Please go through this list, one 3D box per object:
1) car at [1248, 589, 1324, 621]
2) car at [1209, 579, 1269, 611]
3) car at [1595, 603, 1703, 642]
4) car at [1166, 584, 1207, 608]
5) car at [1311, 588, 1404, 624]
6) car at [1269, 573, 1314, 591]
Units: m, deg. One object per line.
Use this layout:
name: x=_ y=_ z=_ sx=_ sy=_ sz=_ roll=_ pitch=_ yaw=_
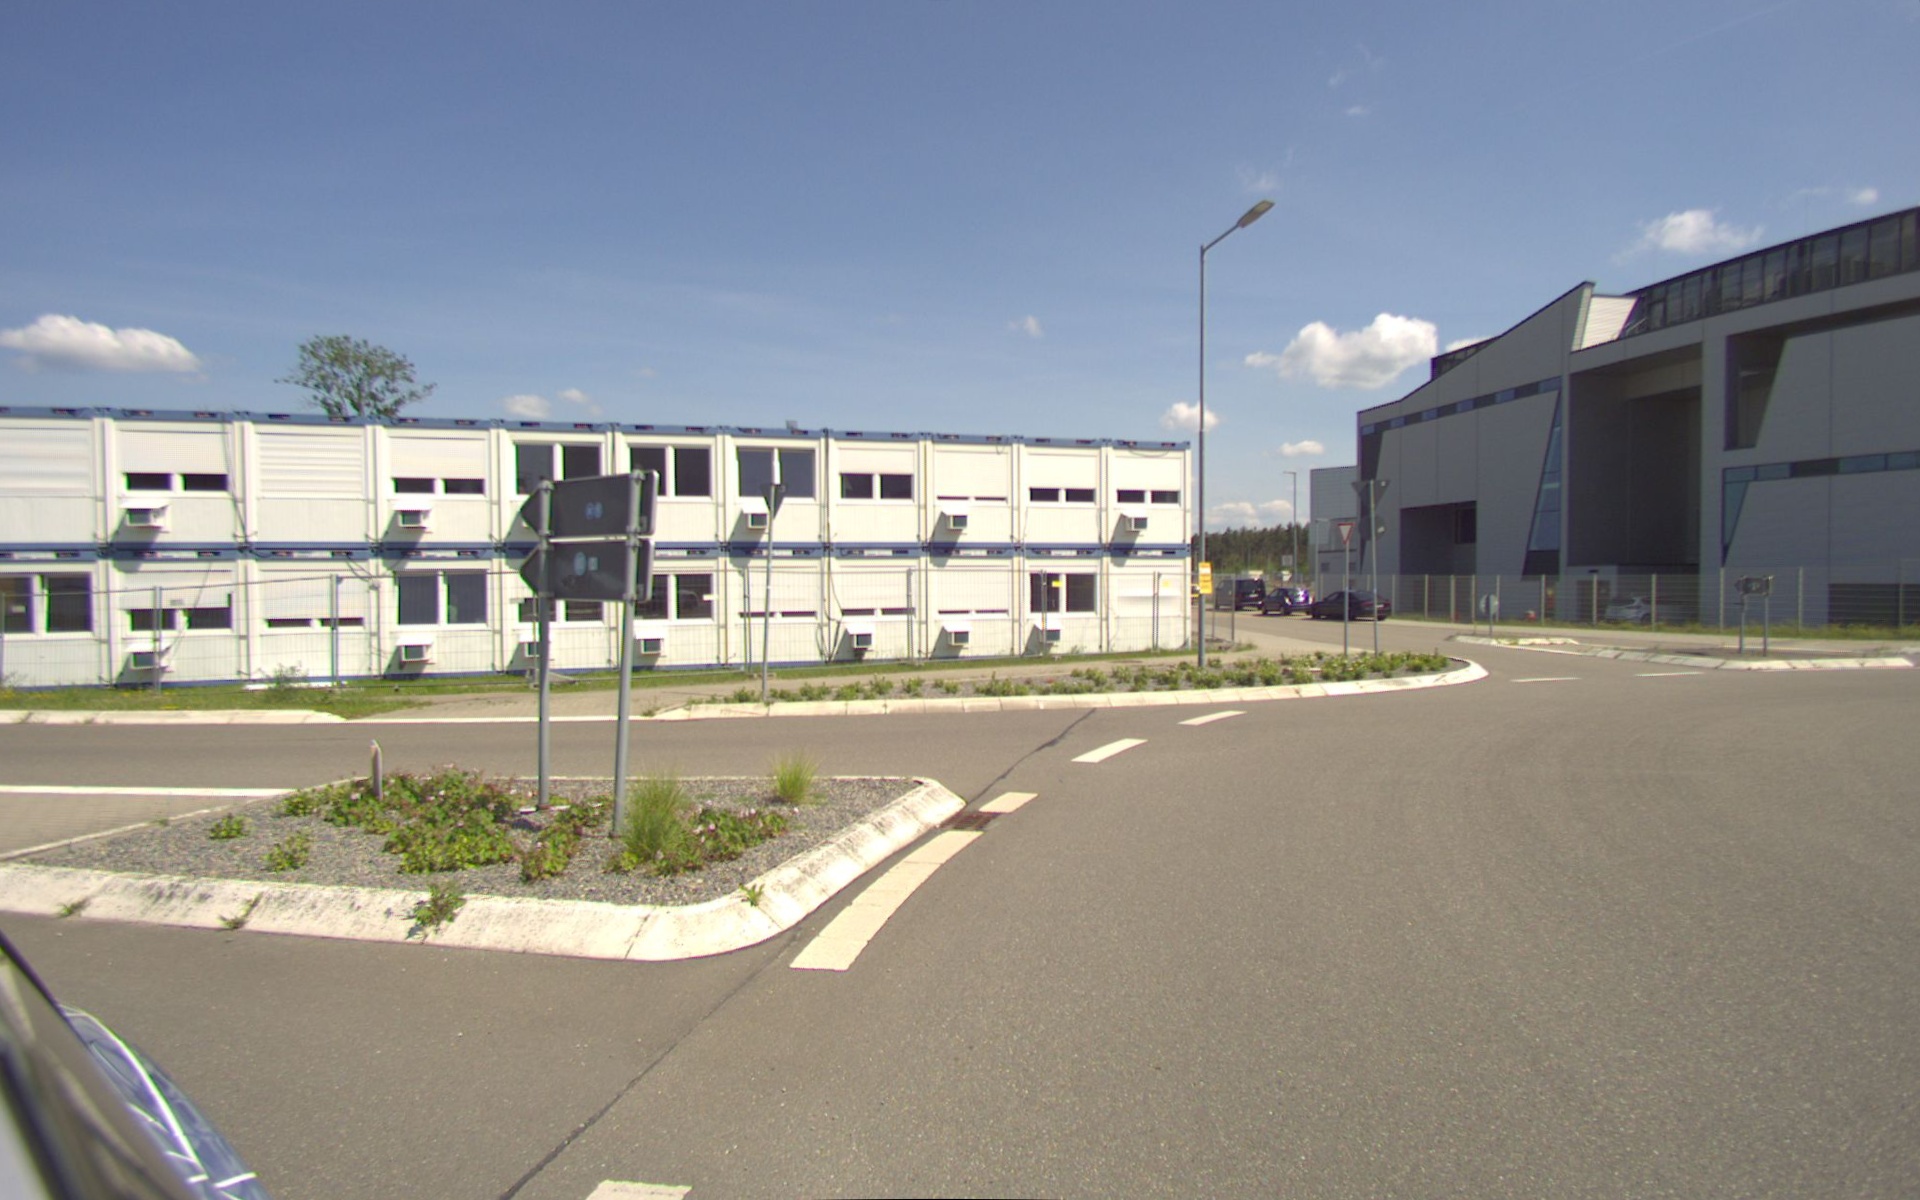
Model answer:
car: x=17.635 y=0.228 z=55.037 sx=1.967 sy=1.561 sz=4.326 roll=-1 pitch=1 yaw=-13
car: x=17.011 y=-0.313 z=61.886 sx=1.968 sy=1.845 sz=4.322 roll=-1 pitch=1 yaw=-8
car: x=33.923 y=1.087 z=49.849 sx=4.242 sy=1.703 sz=2.005 roll=-1 pitch=1 yaw=-13
car: x=16.139 y=-0.313 z=72.284 sx=1.972 sy=1.561 sz=4.314 roll=-1 pitch=1 yaw=0
car: x=18.824 y=0.234 z=48.132 sx=1.966 sy=1.561 sz=4.326 roll=-1 pitch=1 yaw=-14
car: x=36.394 y=-1.998 z=111.099 sx=4.242 sy=1.880 sz=2.005 roll=-1 pitch=1 yaw=-13
